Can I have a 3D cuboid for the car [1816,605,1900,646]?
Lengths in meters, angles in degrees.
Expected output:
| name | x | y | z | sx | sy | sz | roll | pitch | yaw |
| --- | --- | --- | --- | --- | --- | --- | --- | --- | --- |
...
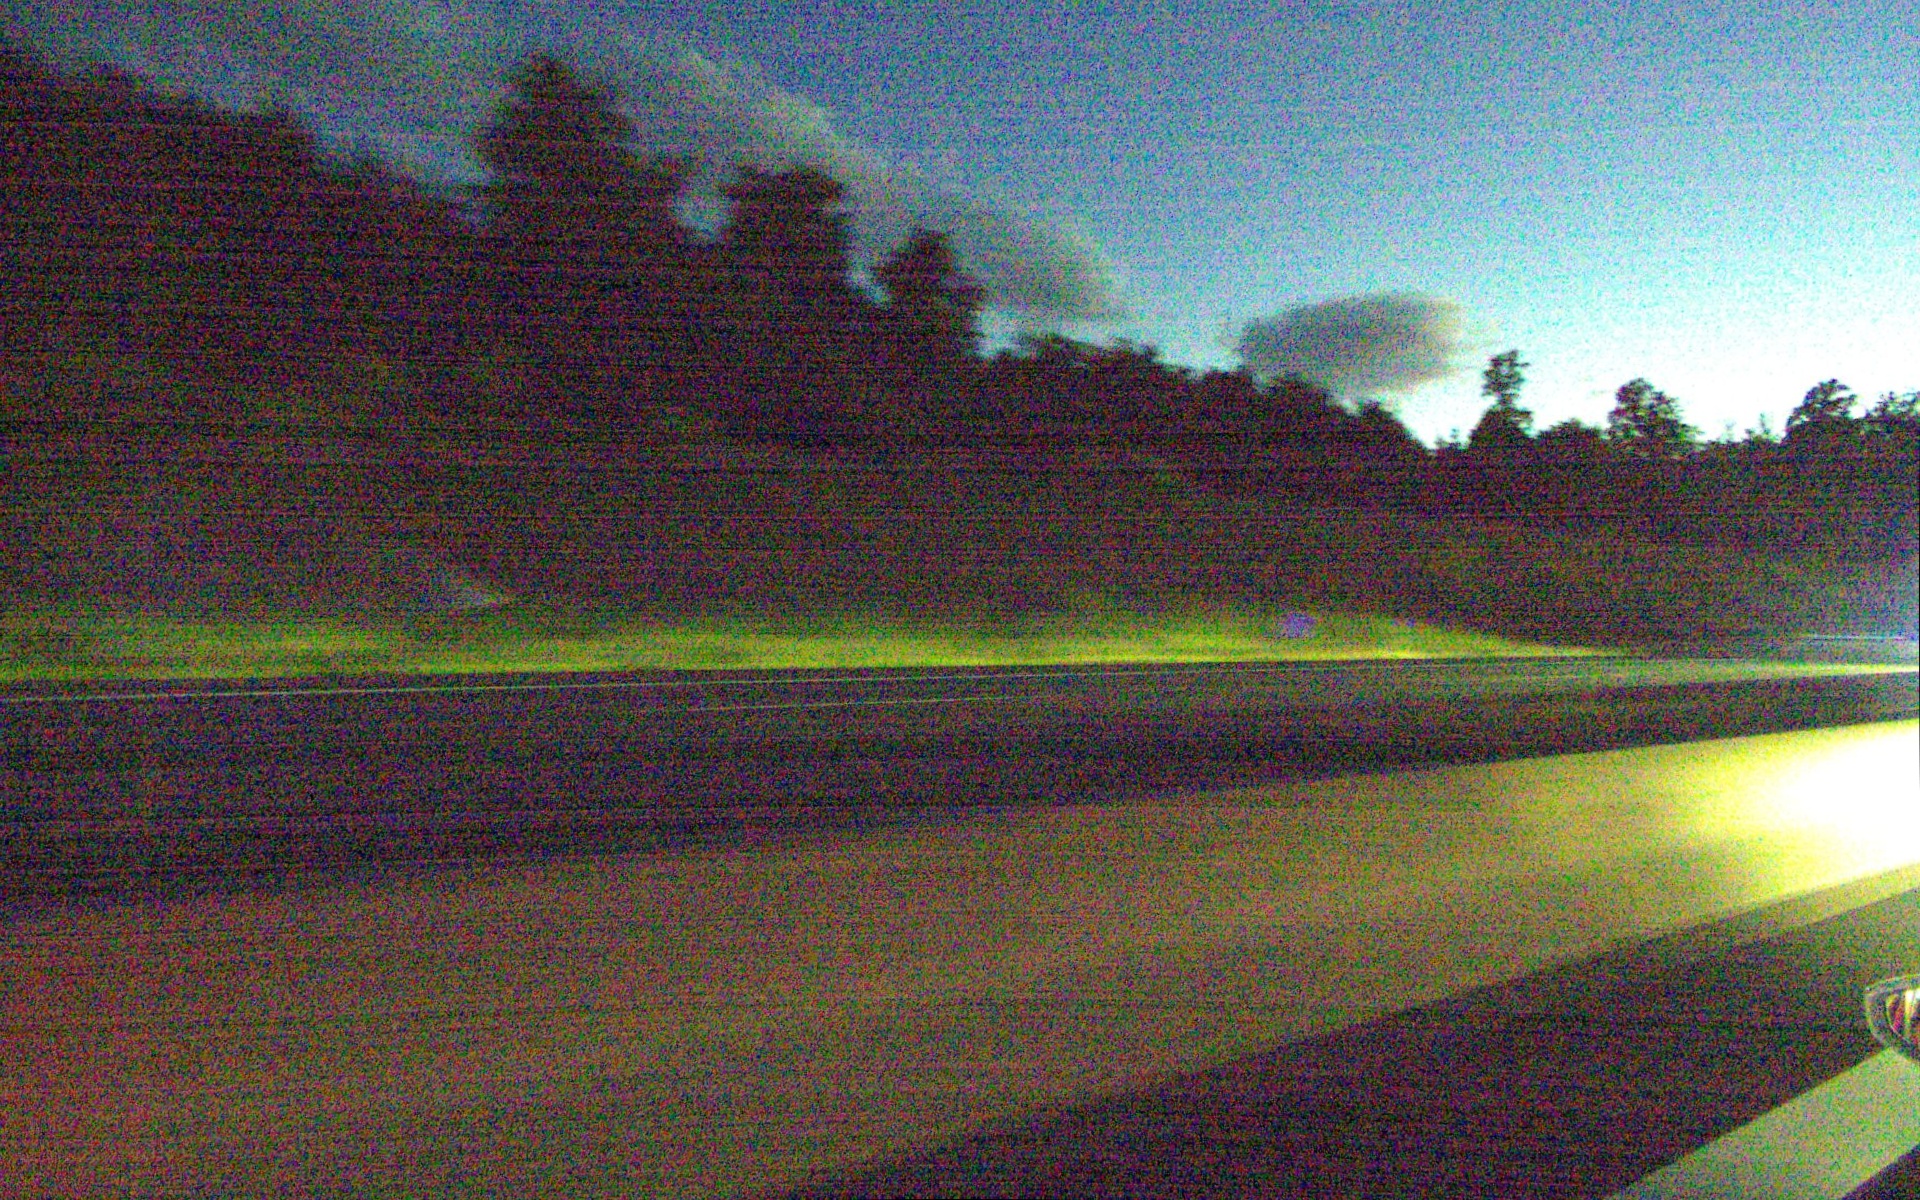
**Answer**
| name | x | y | z | sx | sy | sz | roll | pitch | yaw |
| --- | --- | --- | --- | --- | --- | --- | --- | --- | --- |
| car | 44.242 | 1.296 | 49.469 | 3.955 | 1.951 | 1.984 | 2 | -3 | -31 |
